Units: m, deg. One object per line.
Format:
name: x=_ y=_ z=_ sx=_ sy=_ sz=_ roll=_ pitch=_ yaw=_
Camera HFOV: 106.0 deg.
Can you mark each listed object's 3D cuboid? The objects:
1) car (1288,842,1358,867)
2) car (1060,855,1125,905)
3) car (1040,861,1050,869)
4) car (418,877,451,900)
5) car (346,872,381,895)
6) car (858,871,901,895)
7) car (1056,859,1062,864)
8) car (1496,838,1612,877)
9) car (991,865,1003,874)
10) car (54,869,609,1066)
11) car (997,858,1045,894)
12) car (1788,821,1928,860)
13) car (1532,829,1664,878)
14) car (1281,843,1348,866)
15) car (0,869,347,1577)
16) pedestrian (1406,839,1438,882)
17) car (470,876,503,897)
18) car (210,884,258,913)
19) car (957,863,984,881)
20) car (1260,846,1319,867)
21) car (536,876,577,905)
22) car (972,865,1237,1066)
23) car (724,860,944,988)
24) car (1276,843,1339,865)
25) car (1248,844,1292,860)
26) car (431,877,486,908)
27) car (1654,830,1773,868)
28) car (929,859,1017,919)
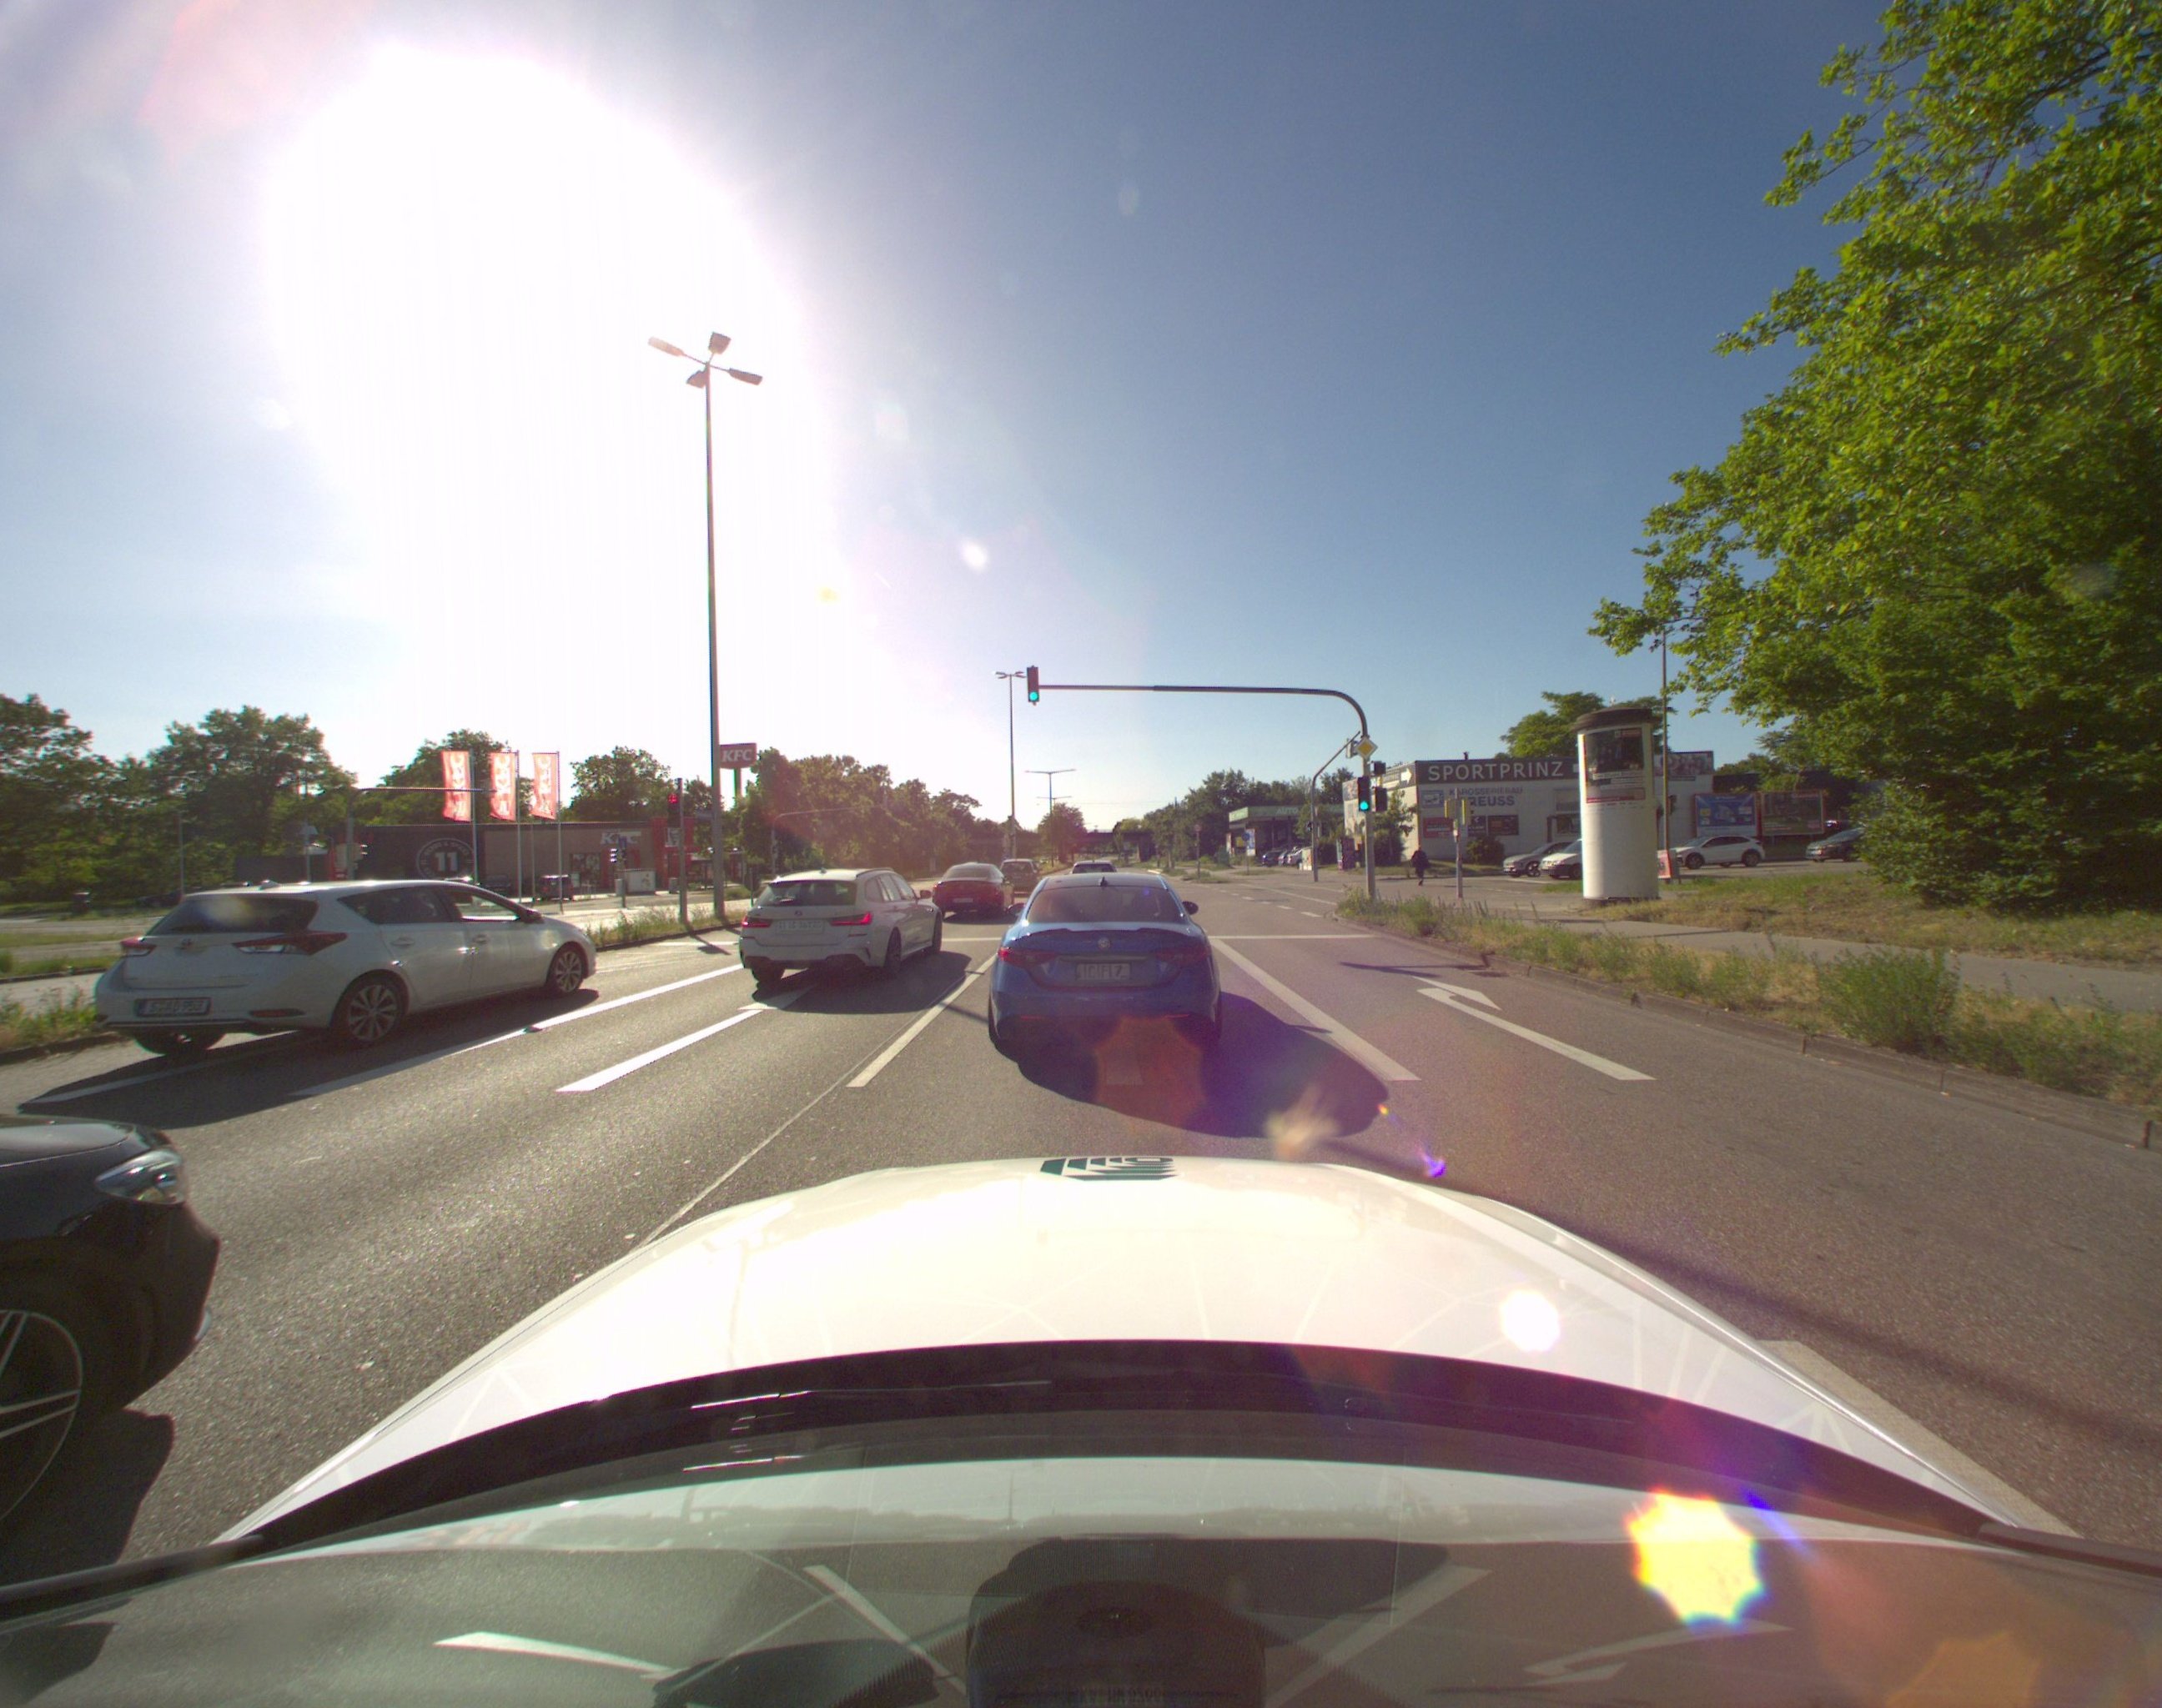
car: x=17.475 y=0.047 z=58.926 sx=4.470 sy=1.454 sz=1.860 roll=-3 pitch=-1 yaw=3
car: x=0.356 y=0.785 z=25.477 sx=1.844 sy=1.418 sz=4.403 roll=0 pitch=-1 yaw=1
car: x=-7.807 y=2.382 z=179.170 sx=1.752 sy=1.490 sz=4.480 roll=-3 pitch=-1 yaw=2
car: x=-45.893 y=2.416 z=57.772 sx=1.670 sy=1.471 sz=3.872 roll=1 pitch=-1 yaw=-40
car: x=-48.289 y=1.930 z=54.879 sx=1.670 sy=1.471 sz=3.872 roll=1 pitch=-1 yaw=-40
car: x=-14.497 y=2.050 z=58.905 sx=1.752 sy=1.490 sz=4.480 roll=-3 pitch=-1 yaw=2
car: x=-6.943 y=2.267 z=252.894 sx=1.565 sy=1.618 sz=4.001 roll=0 pitch=-1 yaw=2
car: x=21.545 y=0.120 z=37.194 sx=4.273 sy=1.549 sz=1.765 roll=-3 pitch=1 yaw=0
car: x=-14.496 y=2.654 z=141.140 sx=1.610 sy=1.559 sz=3.358 roll=0 pitch=-1 yaw=2
car: x=-6.967 y=0.905 z=8.355 sx=1.753 sy=1.490 sz=4.197 roll=0 pitch=-1 yaw=1
car: x=-2.590 y=0.931 z=36.173 sx=1.753 sy=1.490 sz=4.403 roll=0 pitch=-1 yaw=1
car: x=35.418 y=-0.596 z=37.208 sx=4.533 sy=1.490 sz=1.766 roll=-3 pitch=-1 yaw=2
car: x=21.420 y=-0.051 z=33.861 sx=4.367 sy=1.801 sz=1.765 roll=-3 pitch=1 yaw=0
car: x=17.631 y=0.063 z=61.620 sx=4.470 sy=1.454 sz=1.860 roll=-3 pitch=-1 yaw=3
car: x=-3.190 y=0.779 z=0.324 sx=1.753 sy=1.490 sz=4.403 roll=-1 pitch=-1 yaw=1
pedestrian: x=13.994 y=0.266 z=33.460 sx=0.922 sy=1.735 sz=0.939 roll=0 pitch=-1 yaw=1
car: x=-43.403 y=2.363 z=59.429 sx=1.670 sy=1.471 sz=3.872 roll=1 pitch=-1 yaw=-40
car: x=-52.496 y=2.716 z=50.541 sx=1.670 sy=1.673 sz=3.897 roll=1 pitch=-1 yaw=-40
car: x=-10.136 y=1.625 z=75.146 sx=1.752 sy=1.490 sz=3.838 roll=-3 pitch=-1 yaw=2
car: x=17.514 y=0.205 z=68.410 sx=4.470 sy=1.454 sz=1.860 roll=-3 pitch=-1 yaw=3
car: x=-33.915 y=2.301 z=52.725 sx=1.920 sy=1.753 sz=4.315 roll=0 pitch=-1 yaw=-29
car: x=0.196 y=0.825 z=8.016 sx=1.889 sy=1.418 sz=4.403 roll=0 pitch=-1 yaw=1
car: x=-3.264 y=0.860 z=11.768 sx=1.779 sy=1.490 sz=4.403 roll=0 pitch=-1 yaw=1
car: x=17.914 y=0.044 z=64.645 sx=4.470 sy=1.454 sz=1.860 roll=-3 pitch=-1 yaw=3
car: x=21.253 y=-0.174 z=91.536 sx=4.532 sy=1.490 sz=1.766 roll=-3 pitch=-1 yaw=3
car: x=-37.579 y=2.276 z=49.240 sx=2.006 sy=1.765 sz=4.315 roll=0 pitch=-1 yaw=-29
car: x=28.859 y=-0.215 z=37.219 sx=4.028 sy=1.490 sz=1.782 roll=-3 pitch=-1 yaw=-1
car: x=-2.888 y=0.912 z=22.658 sx=1.790 sy=1.490 sz=4.475 roll=0 pitch=-1 yaw=1
